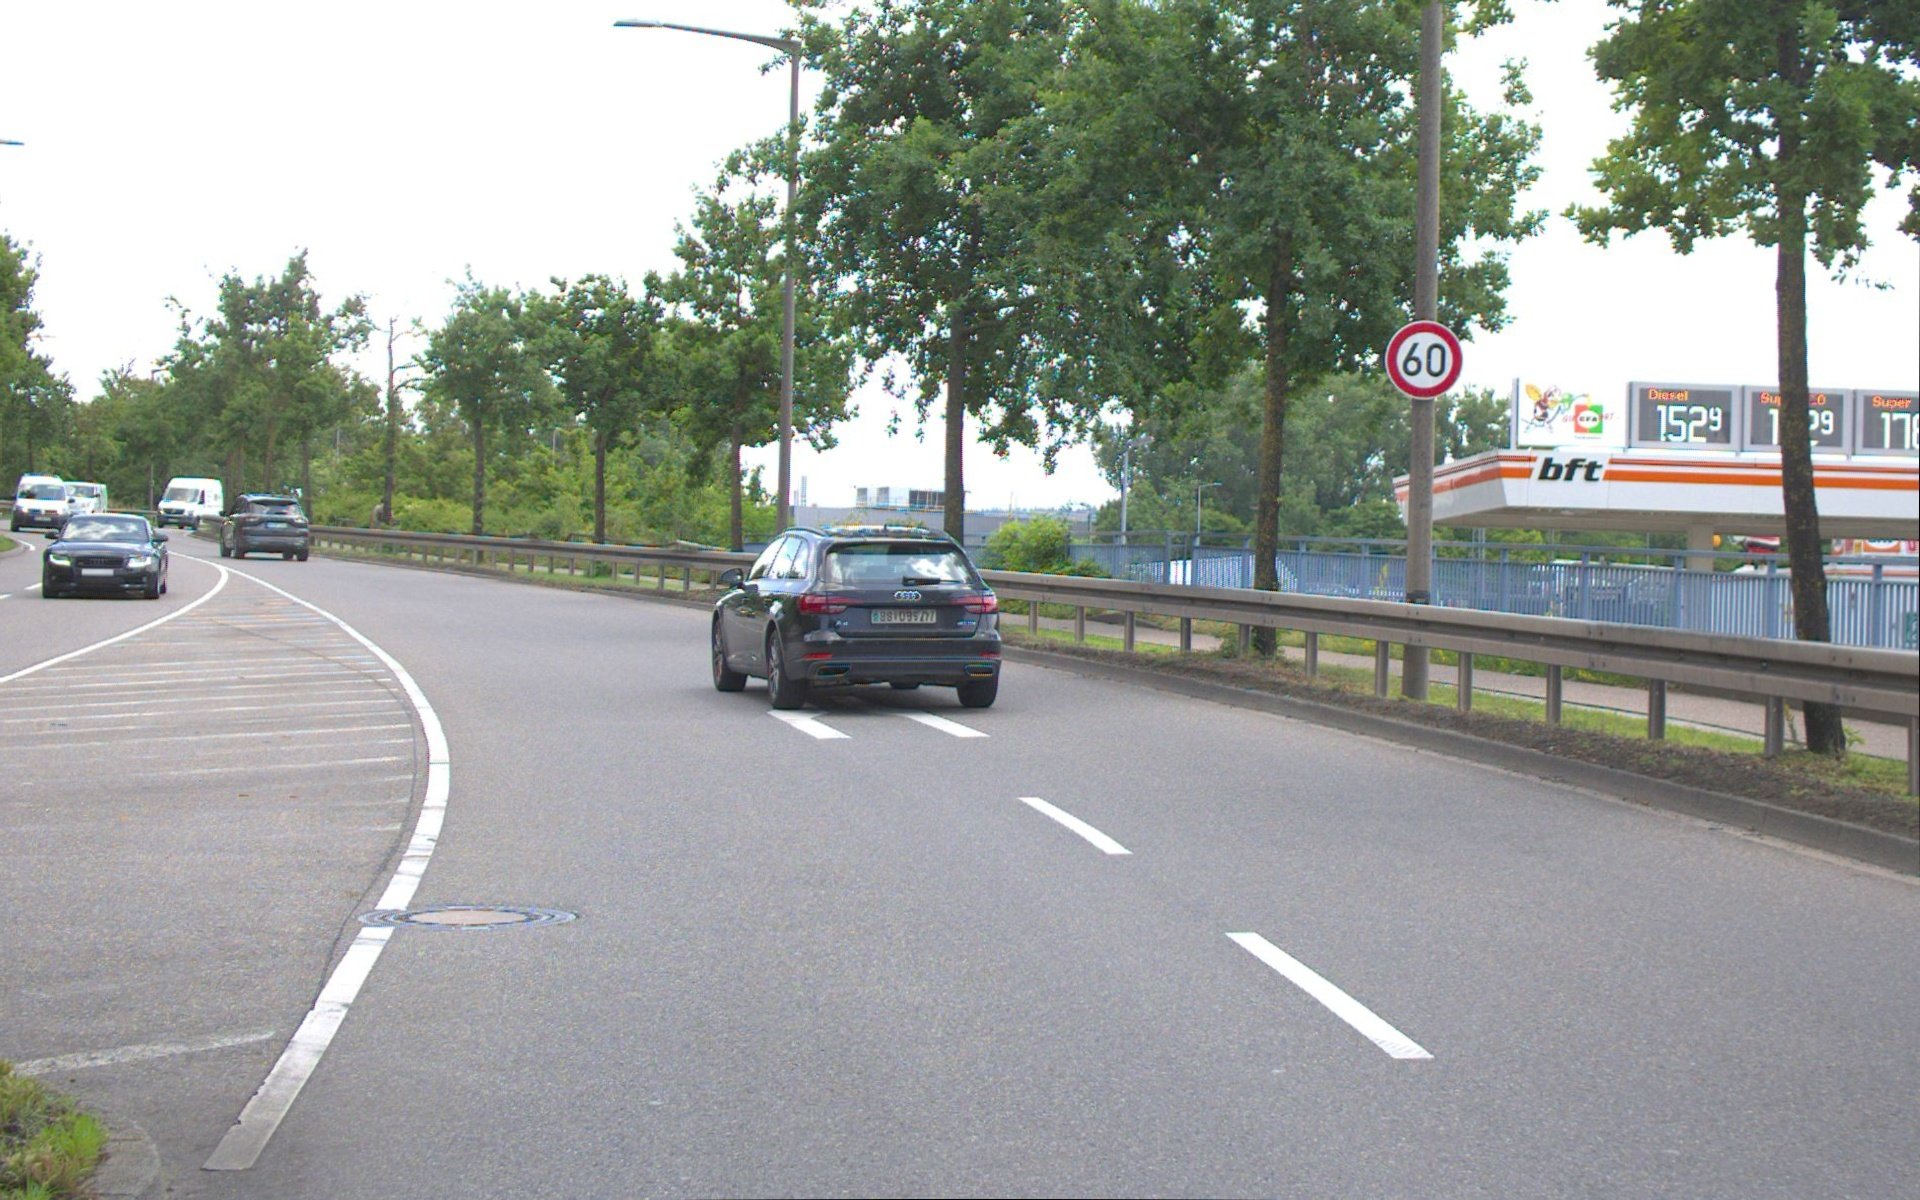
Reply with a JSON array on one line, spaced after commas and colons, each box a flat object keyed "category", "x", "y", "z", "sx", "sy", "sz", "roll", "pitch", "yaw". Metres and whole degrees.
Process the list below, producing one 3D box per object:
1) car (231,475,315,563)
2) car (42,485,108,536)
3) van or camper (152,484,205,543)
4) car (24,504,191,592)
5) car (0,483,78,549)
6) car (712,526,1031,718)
[{"category": "car", "x": -17.458, "y": -2.035, "z": 87.505, "sx": 1.993, "sy": 2.030, "sz": 4.714, "roll": 1, "pitch": -1, "yaw": -10}, {"category": "car", "x": -38.859, "y": -3.907, "z": 150.930, "sx": 1.993, "sy": 2.030, "sz": 4.713, "roll": 2, "pitch": -1, "yaw": -24}, {"category": "van or camper", "x": -39.365, "y": -4.331, "z": 173.089, "sx": 1.993, "sy": 2.741, "sz": 5.387, "roll": 3, "pitch": 0, "yaw": -18}, {"category": "car", "x": -13.975, "y": -0.868, "z": 56.598, "sx": 1.903, "sy": 1.359, "sz": 4.576, "roll": -1, "pitch": 1, "yaw": -4}, {"category": "car", "x": -29.627, "y": -2.726, "z": 110.652, "sx": 1.993, "sy": 2.006, "sz": 4.560, "roll": 2, "pitch": 2, "yaw": -10}, {"category": "car", "x": -0.832, "y": 0.131, "z": 28.427, "sx": 1.993, "sy": 1.386, "sz": 4.577, "roll": 2, "pitch": 1, "yaw": -9}]
